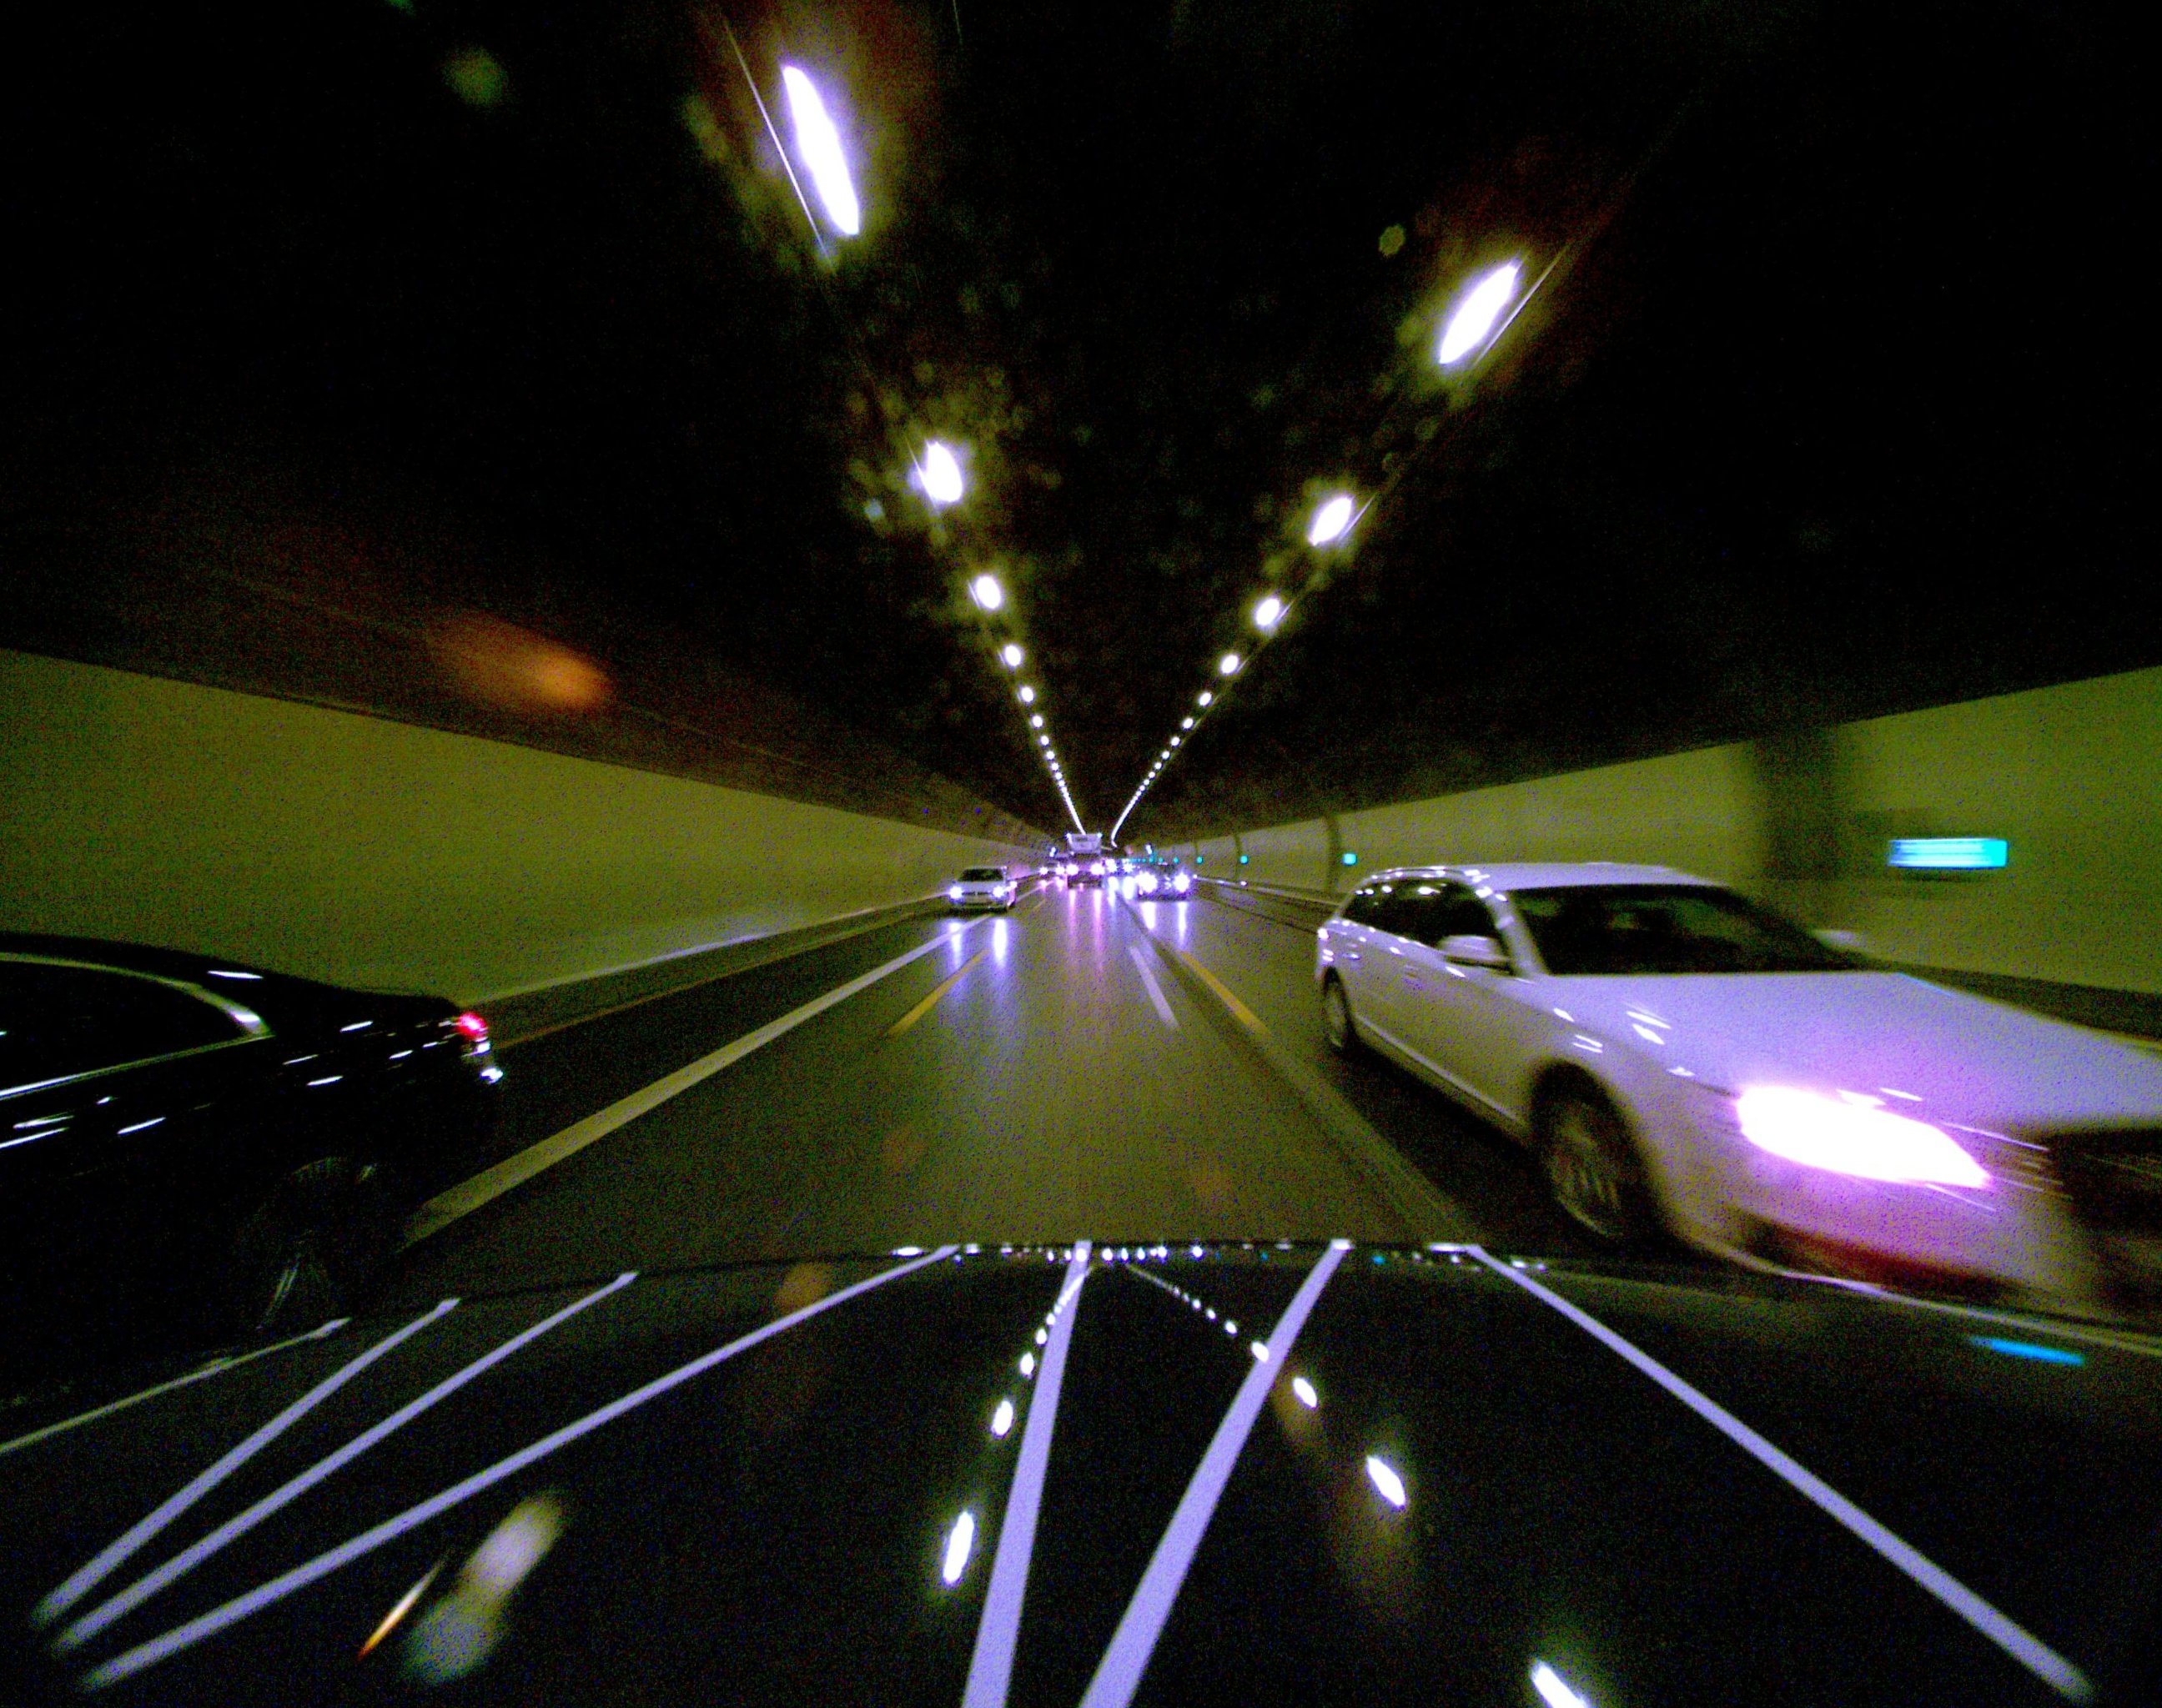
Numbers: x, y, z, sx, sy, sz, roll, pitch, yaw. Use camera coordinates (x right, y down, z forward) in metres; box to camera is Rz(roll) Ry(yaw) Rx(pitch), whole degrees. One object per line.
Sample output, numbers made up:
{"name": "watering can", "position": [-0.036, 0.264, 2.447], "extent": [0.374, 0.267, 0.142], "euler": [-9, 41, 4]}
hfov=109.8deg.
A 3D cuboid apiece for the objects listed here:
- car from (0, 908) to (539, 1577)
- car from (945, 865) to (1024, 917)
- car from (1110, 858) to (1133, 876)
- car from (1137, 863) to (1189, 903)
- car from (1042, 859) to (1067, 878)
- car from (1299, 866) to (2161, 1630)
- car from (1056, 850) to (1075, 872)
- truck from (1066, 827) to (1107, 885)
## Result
{"name": "car", "position": [-3.576, 1.020, 1.070], "extent": [1.930, 1.464, 4.954], "euler": [-2, 0, 1]}
{"name": "car", "position": [-2.995, 1.113, 24.443], "extent": [1.801, 1.452, 4.035], "euler": [-1, 0, 3]}
{"name": "car", "position": [3.918, 1.237, 74.031], "extent": [1.958, 1.527, 4.758], "euler": [-4, 0, 1]}
{"name": "car", "position": [3.119, 1.080, 29.499], "extent": [1.657, 1.395, 3.657], "euler": [-1, 0, 1]}
{"name": "car", "position": [-2.302, 1.264, 67.715], "extent": [1.958, 1.527, 4.758], "euler": [-2, 0, 0]}
{"name": "car", "position": [2.785, 0.819, 3.971], "extent": [1.908, 1.476, 4.944], "euler": [0, -1, 0]}
{"name": "car", "position": [-1.935, 0.873, 96.330], "extent": [2.124, 2.629, 6.230], "euler": [-2, 1, 1]}
{"name": "truck", "position": [0.364, 0.122, 46.800], "extent": [2.262, 3.238, 7.383], "euler": [-2, 0, 1]}
